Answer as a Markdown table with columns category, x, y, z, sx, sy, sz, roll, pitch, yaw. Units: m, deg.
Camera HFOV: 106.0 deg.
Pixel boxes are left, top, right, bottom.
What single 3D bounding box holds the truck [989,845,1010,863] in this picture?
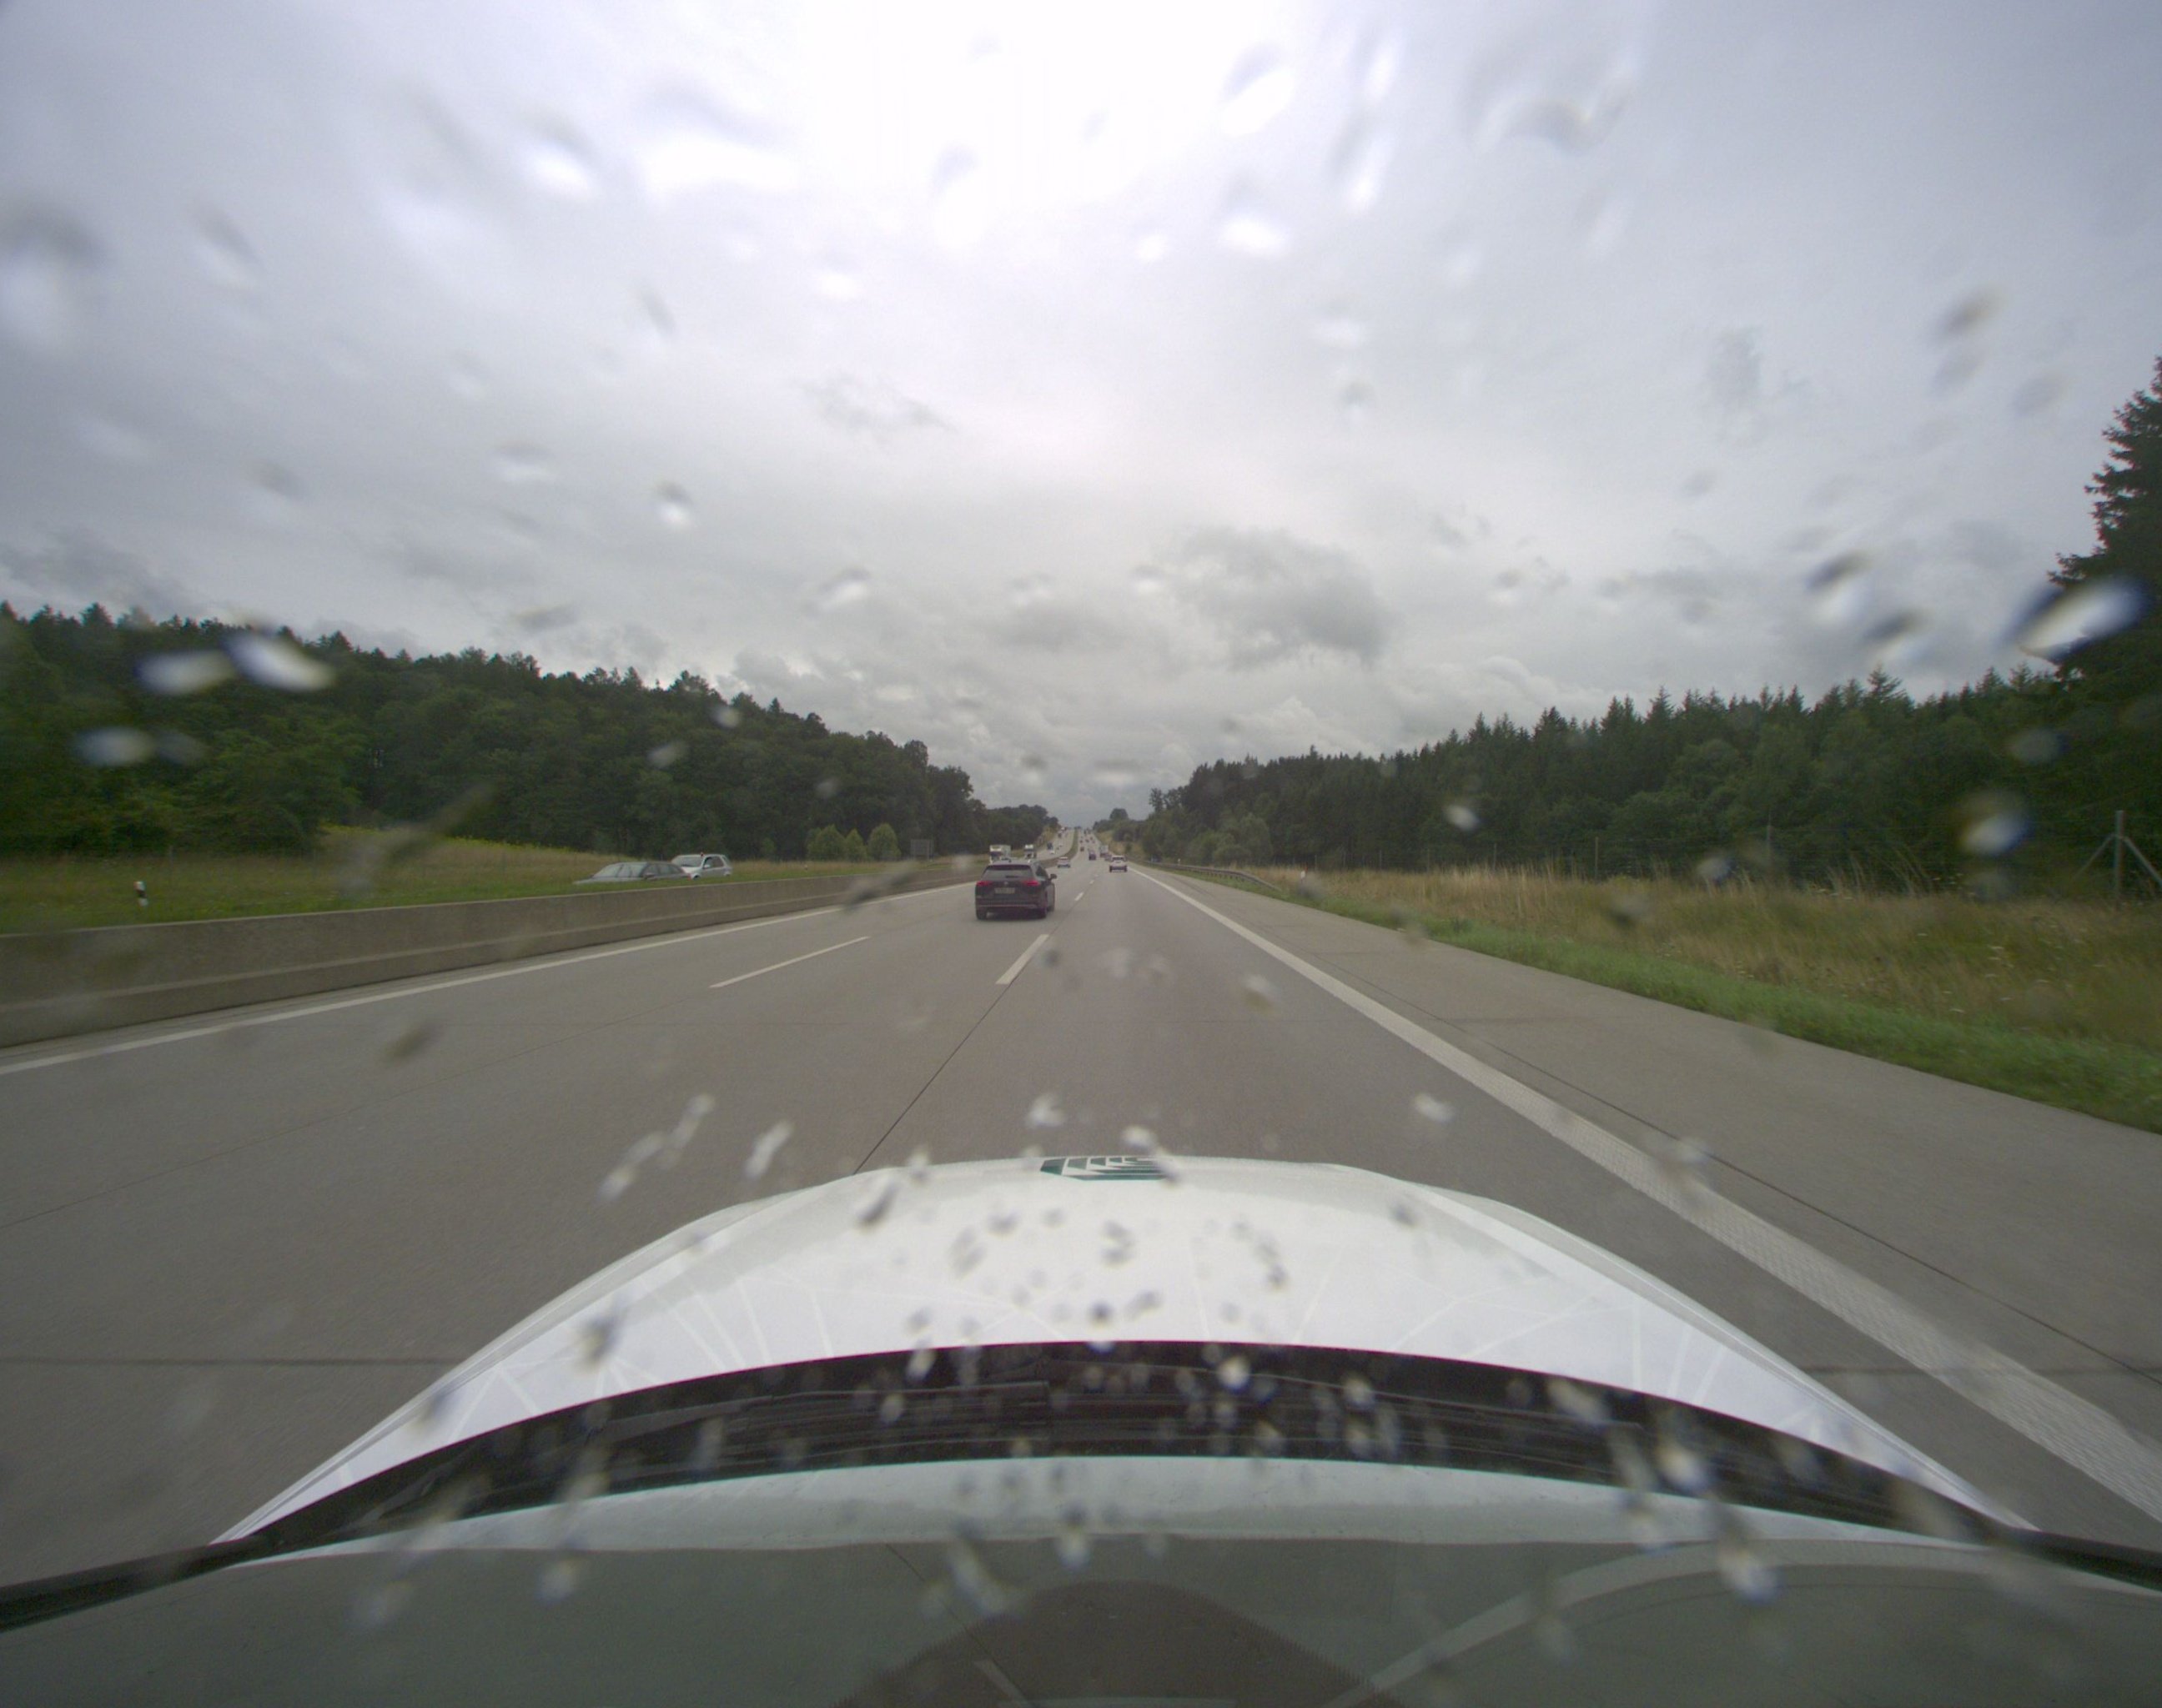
| category | x | y | z | sx | sy | sz | roll | pitch | yaw |
| --- | --- | --- | --- | --- | --- | --- | --- | --- | --- |
| truck | -16.993 | 0.017 | 170.327 | 2.802 | 3.773 | 11.355 | 0 | 0 | 2 |

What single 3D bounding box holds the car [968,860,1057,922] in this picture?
| category | x | y | z | sx | sy | sz | roll | pitch | yaw |
| --- | --- | --- | --- | --- | --- | --- | --- | --- | --- |
| car | -1.658 | 0.878 | 21.110 | 1.745 | 1.398 | 4.486 | 0 | 0 | 2 |

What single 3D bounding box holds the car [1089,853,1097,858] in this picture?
| category | x | y | z | sx | sy | sz | roll | pitch | yaw |
| --- | --- | --- | --- | --- | --- | --- | --- | --- | --- |
| car | 3.156 | 0.414 | 209.469 | 1.928 | 1.375 | 4.595 | 0 | 1 | 1 |

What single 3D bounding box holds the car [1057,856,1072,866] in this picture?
| category | x | y | z | sx | sy | sz | roll | pitch | yaw |
| --- | --- | --- | --- | --- | --- | --- | --- | --- | --- |
| car | -2.445 | 1.026 | 122.146 | 1.939 | 1.356 | 4.263 | -1 | 0 | 4 |

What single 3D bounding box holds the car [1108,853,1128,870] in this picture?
| category | x | y | z | sx | sy | sz | roll | pitch | yaw |
| --- | --- | --- | --- | --- | --- | --- | --- | --- | --- |
| car | 3.763 | 0.724 | 83.711 | 1.820 | 1.655 | 3.983 | 0 | 0 | -1 |

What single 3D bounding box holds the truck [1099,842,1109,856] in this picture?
| category | x | y | z | sx | sy | sz | roll | pitch | yaw |
| --- | --- | --- | --- | --- | --- | --- | --- | --- | --- |
| truck | 7.184 | -1.656 | 255.756 | 3.008 | 4.179 | 8.353 | -1 | 2 | 0 |

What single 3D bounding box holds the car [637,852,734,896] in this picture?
| category | x | y | z | sx | sy | sz | roll | pitch | yaw |
| --- | --- | --- | --- | --- | --- | --- | --- | --- | --- |
| car | -17.069 | 0.819 | 35.410 | 1.986 | 1.800 | 4.393 | 0 | 0 | 1 |

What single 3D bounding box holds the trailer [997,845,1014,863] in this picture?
| category | x | y | z | sx | sy | sz | roll | pitch | yaw |
| --- | --- | --- | --- | --- | --- | --- | --- | --- | --- |
| trailer | -16.715 | -0.018 | 179.896 | 2.808 | 3.782 | 7.719 | 0 | 0 | 2 |

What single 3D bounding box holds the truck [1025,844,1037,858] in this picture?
| category | x | y | z | sx | sy | sz | roll | pitch | yaw |
| --- | --- | --- | --- | --- | --- | --- | --- | --- | --- |
| truck | -14.998 | -0.820 | 245.335 | 3.202 | 4.057 | 7.166 | 0 | 0 | 0 |
